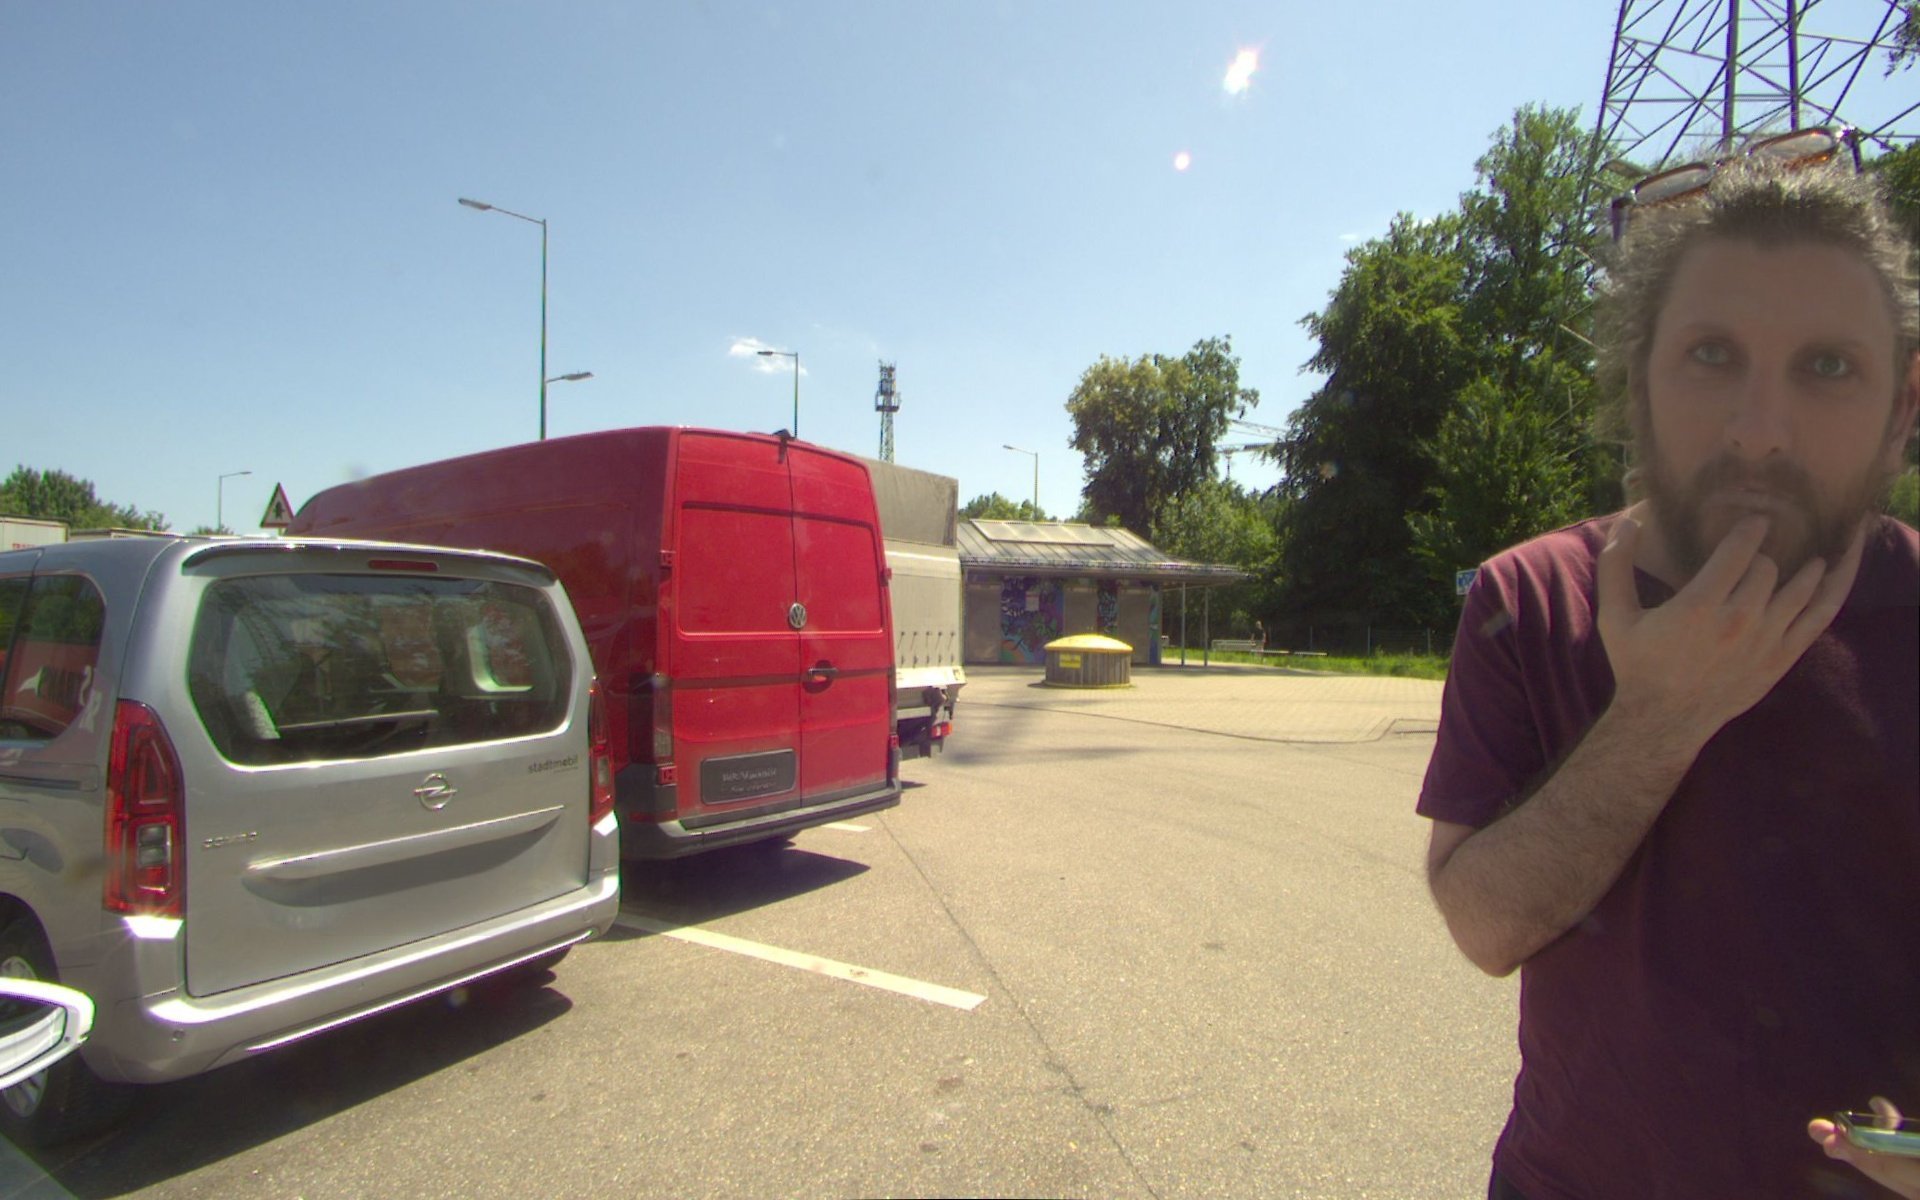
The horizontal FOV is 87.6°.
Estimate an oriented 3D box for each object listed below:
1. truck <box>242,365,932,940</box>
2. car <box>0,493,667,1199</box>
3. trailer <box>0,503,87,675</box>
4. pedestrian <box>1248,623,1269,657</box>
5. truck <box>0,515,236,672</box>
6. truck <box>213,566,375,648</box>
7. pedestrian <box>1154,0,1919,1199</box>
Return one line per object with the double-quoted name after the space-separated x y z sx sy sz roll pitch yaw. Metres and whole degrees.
-2.868 0.265 7.000 5.233 2.658 1.987 0 -1 37 "truck"
-3.353 0.640 4.215 3.938 1.776 1.824 0 -1 29 "car"
-28.805 -0.285 28.029 13.374 4.178 2.871 0 -1 33 "trailer"
12.558 1.679 42.163 0.579 1.402 0.754 1 0 -8 "pedestrian"
-27.999 -0.125 31.783 14.316 4.175 2.901 0 -3 33 "truck"
-30.719 0.327 46.071 8.407 3.482 3.019 0 -1 33 "truck"
0.725 0.515 0.819 0.926 1.798 0.827 1 0 28 "pedestrian"
